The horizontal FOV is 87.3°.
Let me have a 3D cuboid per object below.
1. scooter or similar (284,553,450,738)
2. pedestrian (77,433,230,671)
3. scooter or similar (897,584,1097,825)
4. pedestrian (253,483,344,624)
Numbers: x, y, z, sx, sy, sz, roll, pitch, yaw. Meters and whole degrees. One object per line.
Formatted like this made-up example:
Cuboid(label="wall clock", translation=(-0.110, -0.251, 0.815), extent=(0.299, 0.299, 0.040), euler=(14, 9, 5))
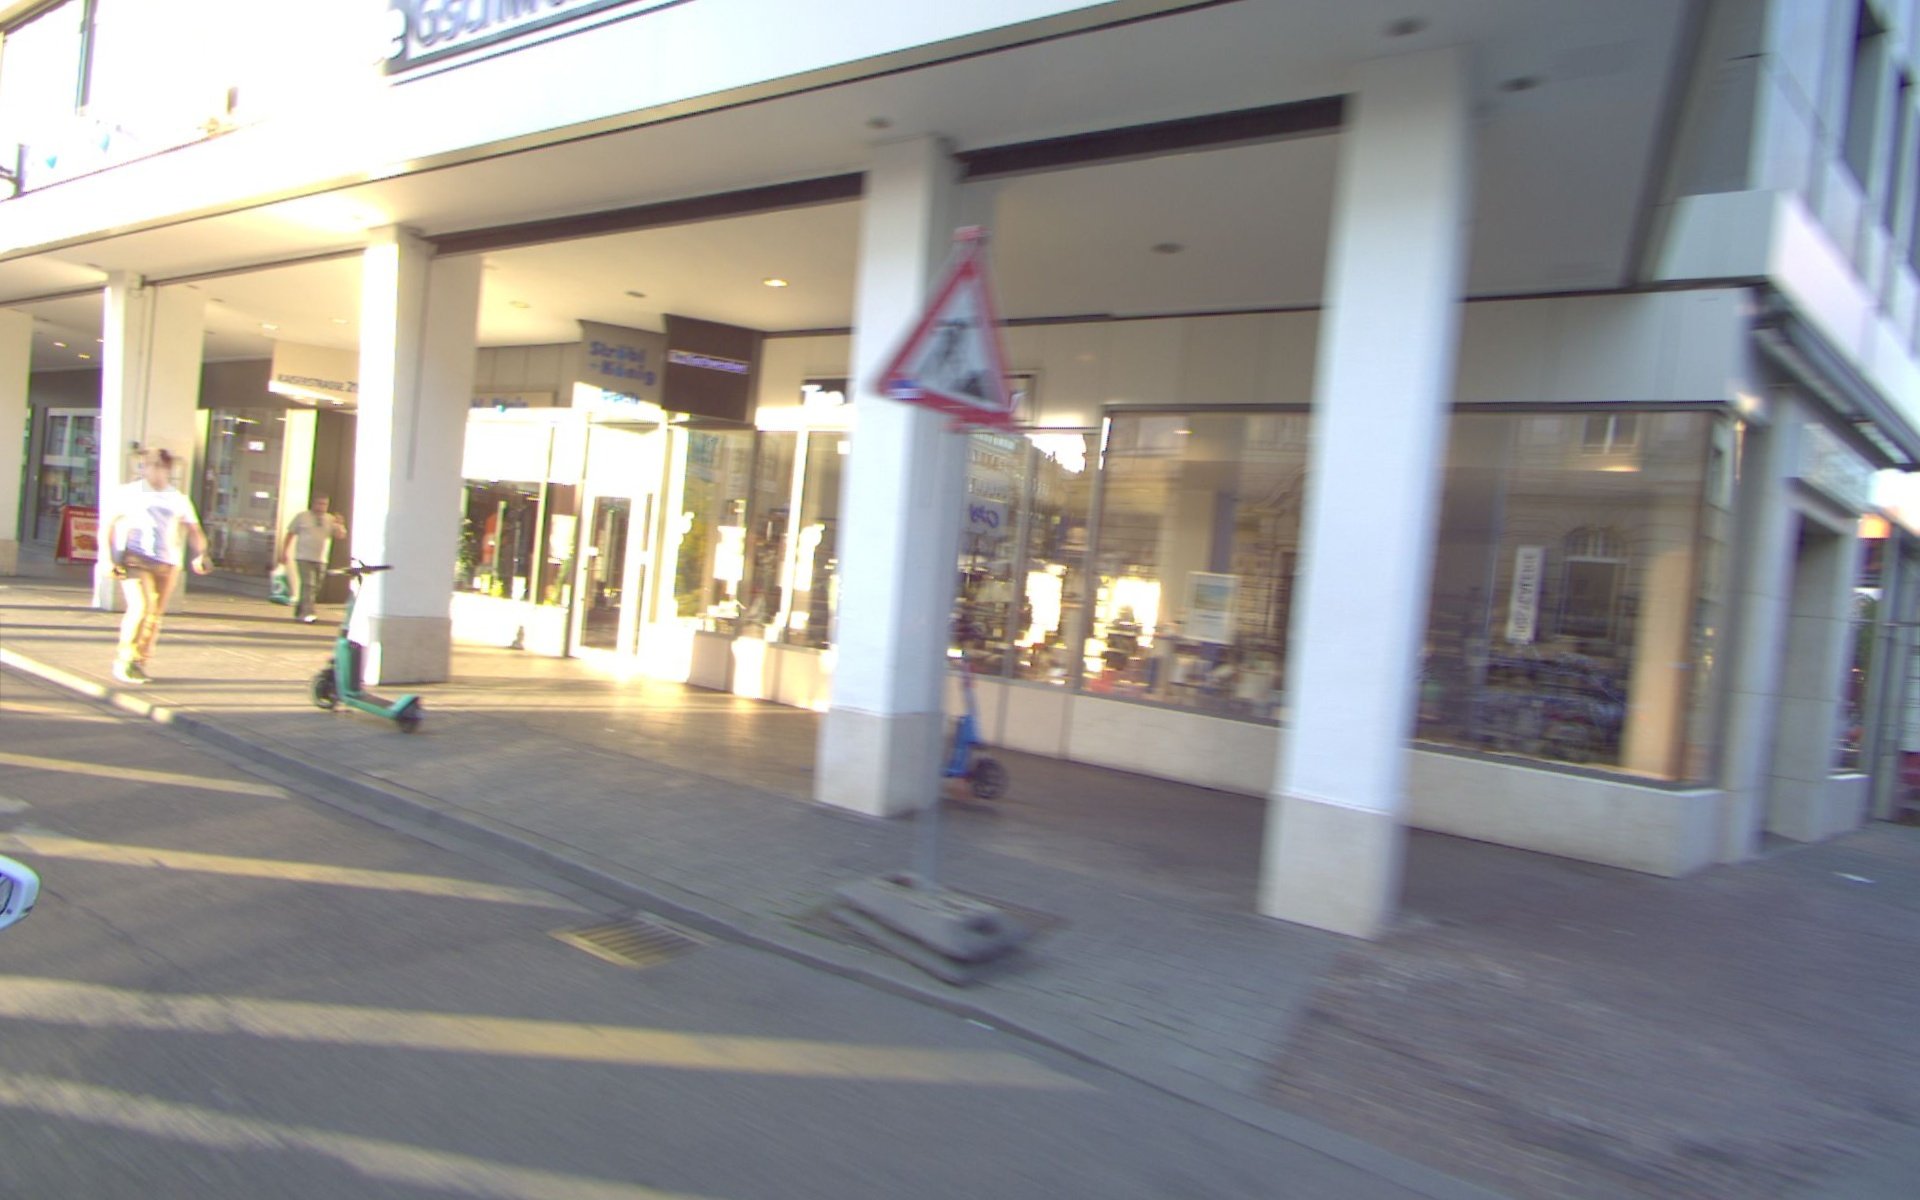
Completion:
Cuboid(label="scooter or similar", translation=(-4.530, 0.326, 7.675), extent=(1.160, 1.250, 0.505), euler=(6, 1, 30))
Cuboid(label="pedestrian", translation=(-6.722, -0.391, 8.384), extent=(0.840, 1.837, 0.698), euler=(6, 0, 40))
Cuboid(label="scooter or similar", translation=(0.243, 0.700, 7.166), extent=(1.293, 1.507, 0.314), euler=(6, 1, 31))
Cuboid(label="pedestrian", translation=(-9.130, -0.636, 13.894), extent=(0.620, 1.837, 0.700), euler=(7, 0, 31))
